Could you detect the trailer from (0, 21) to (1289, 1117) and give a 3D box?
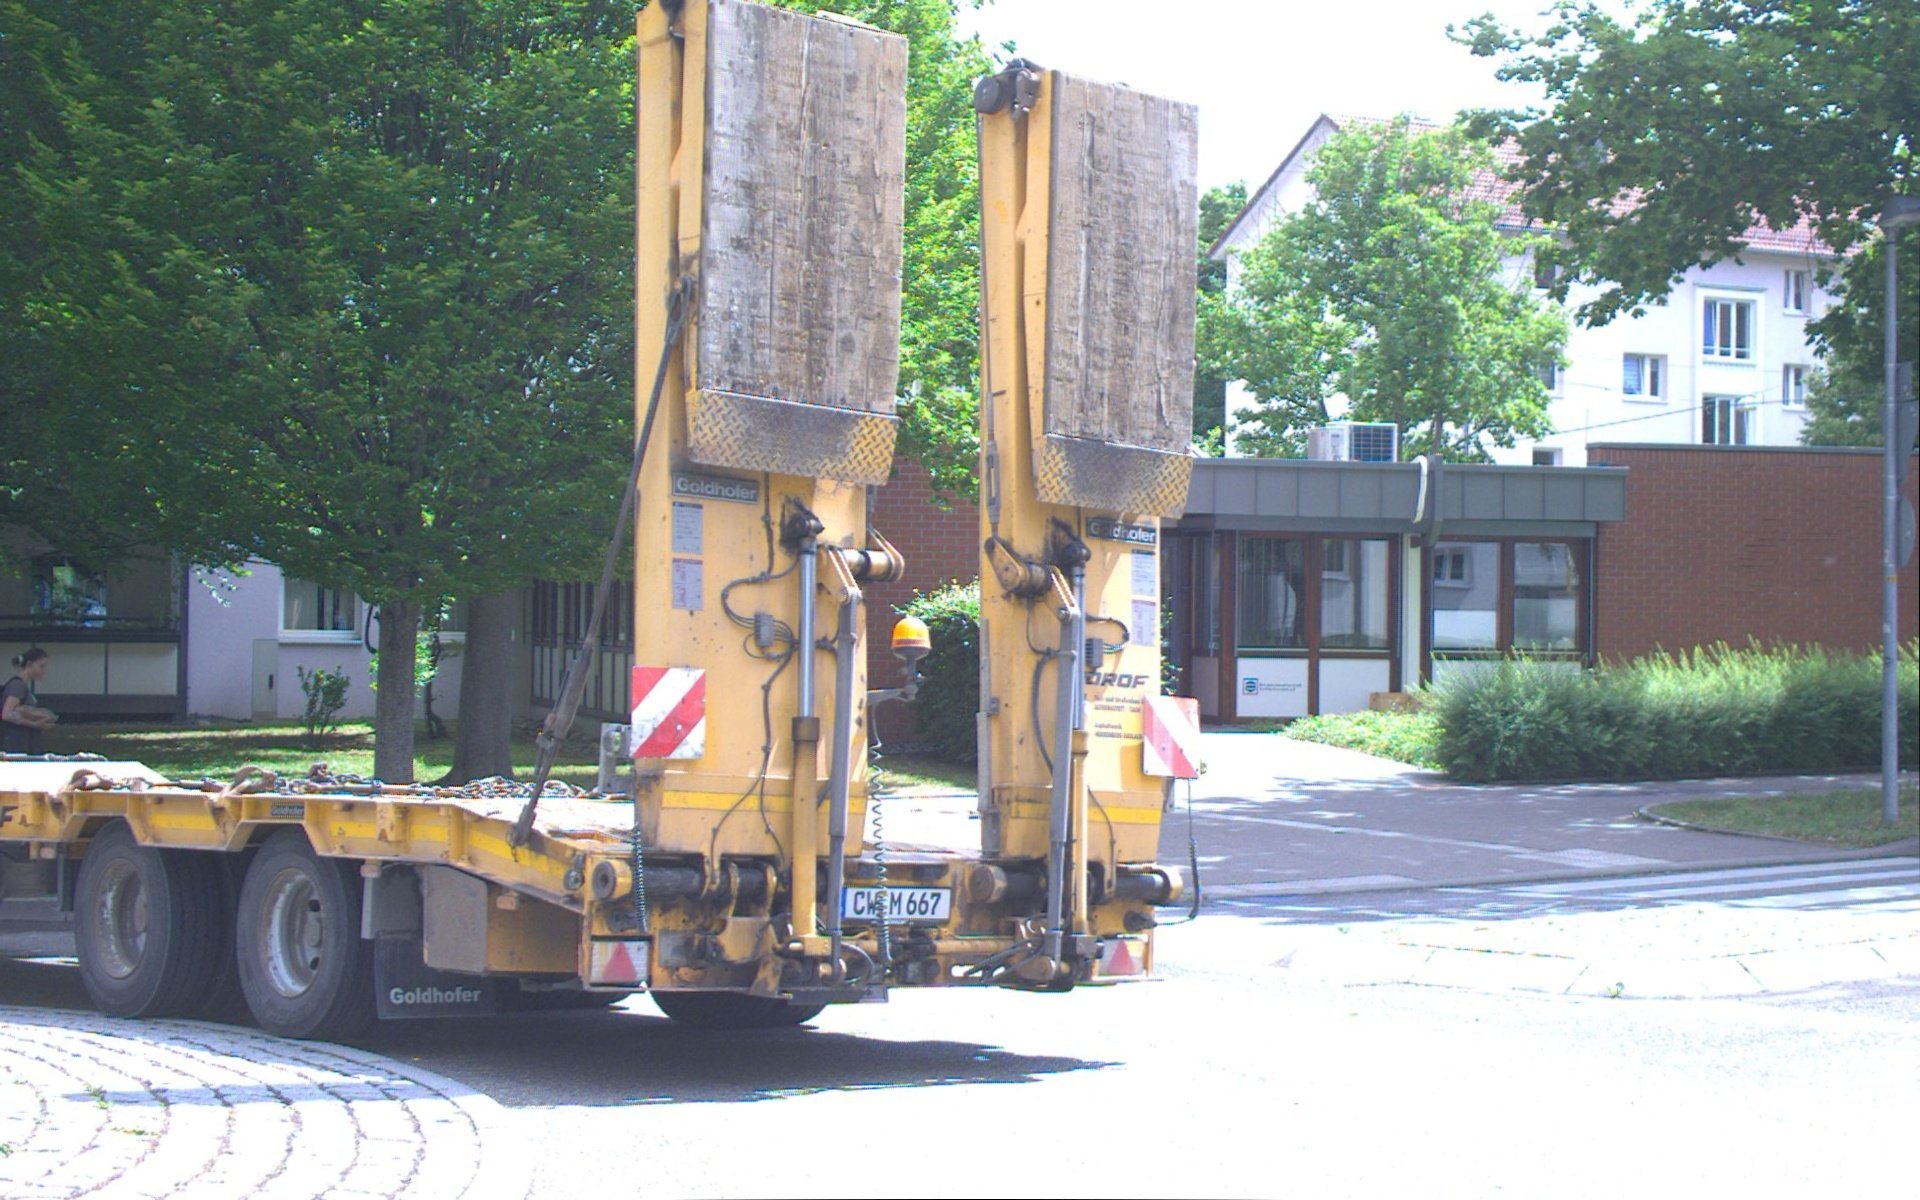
[{"bbox_3d":[-3.460,-0.183,15.593,2.865,3.361,10.837,2,0,-40],"label":"trailer"}]

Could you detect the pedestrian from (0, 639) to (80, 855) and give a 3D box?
[{"bbox_3d":[-7.141,1.101,25.869,0.838,1.574,0.721,-3,1,-23],"label":"pedestrian"}]
